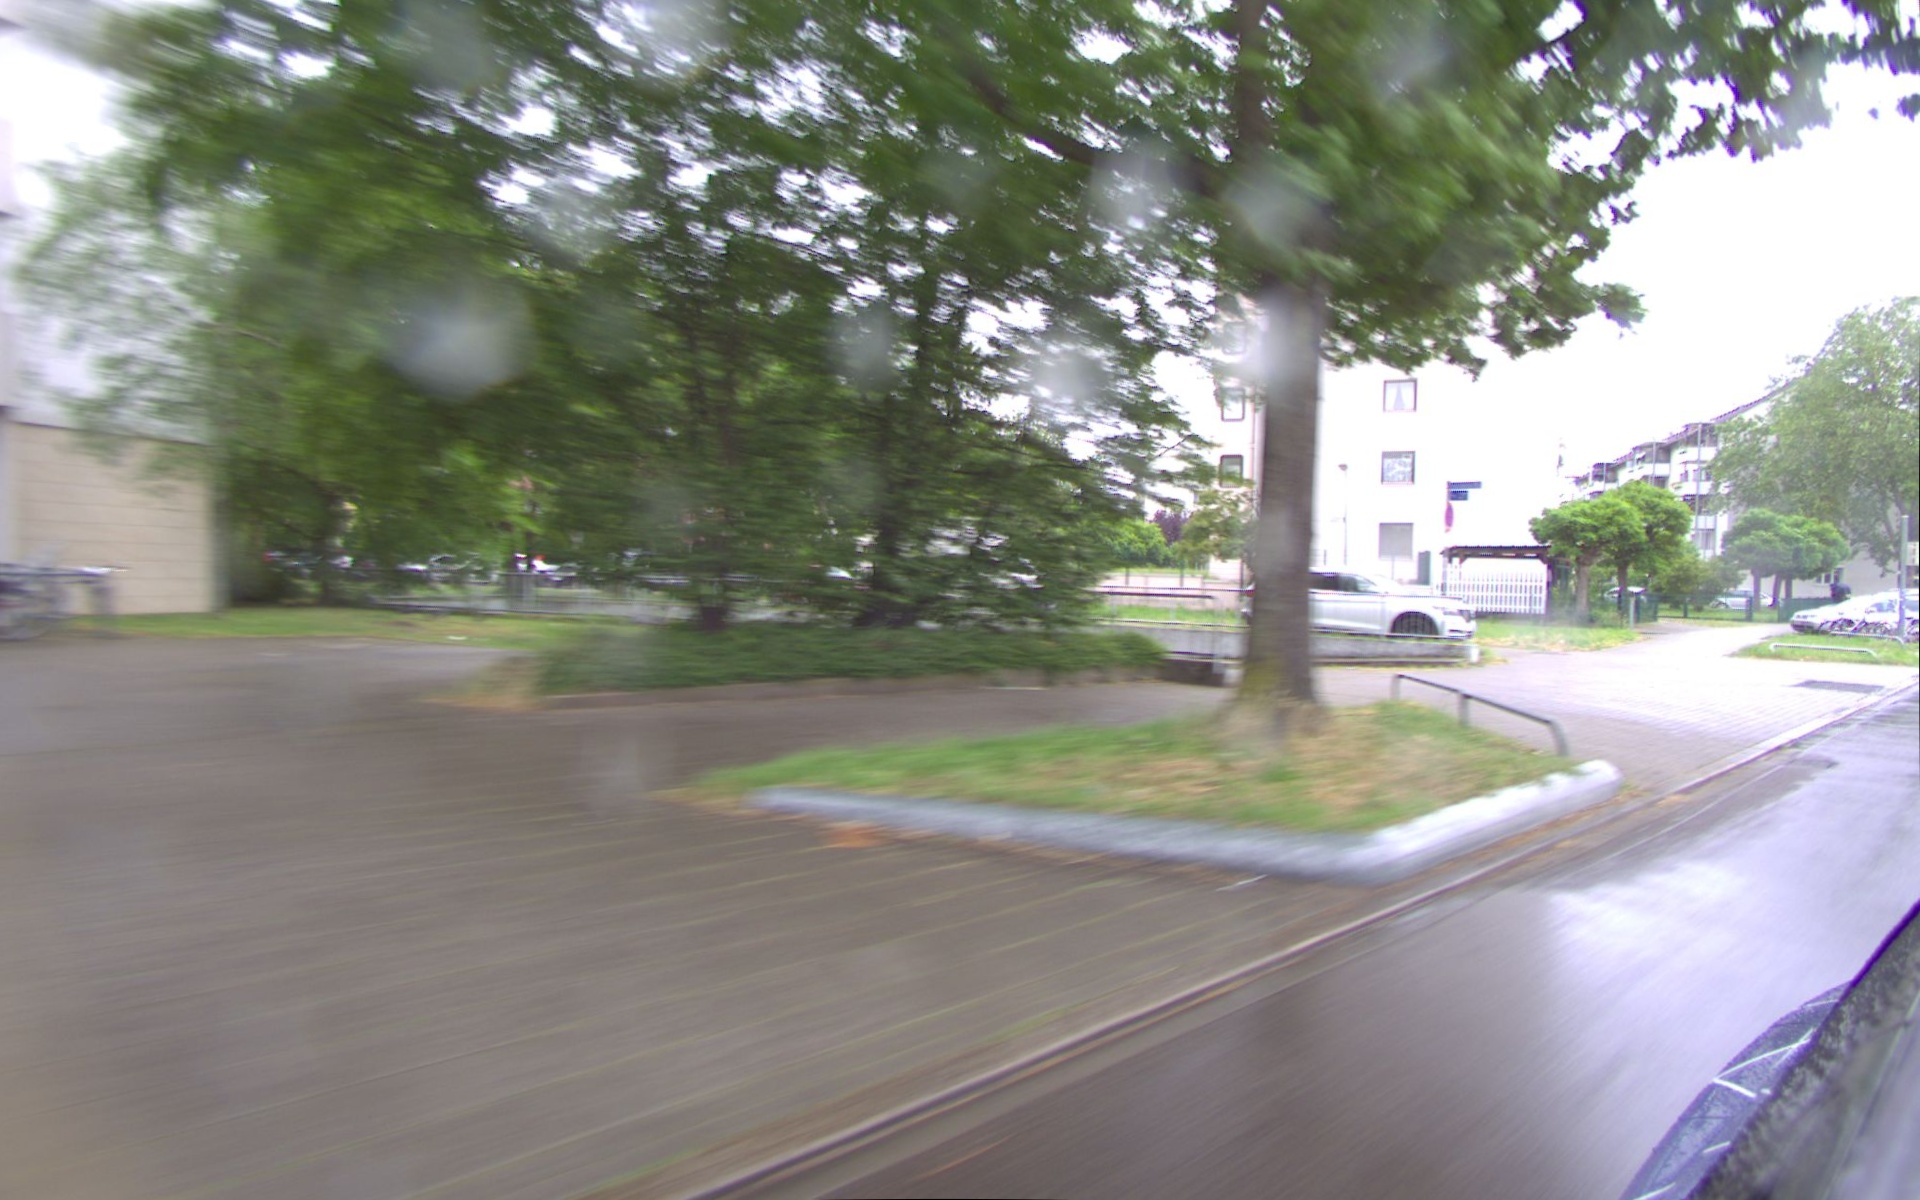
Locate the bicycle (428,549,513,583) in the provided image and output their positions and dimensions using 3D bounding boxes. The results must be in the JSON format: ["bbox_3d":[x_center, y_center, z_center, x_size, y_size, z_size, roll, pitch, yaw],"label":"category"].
[{"bbox_3d":[-24.708,-1.720,51.190,1.168,1.652,3.961,1,1,28],"label":"bicycle"}]

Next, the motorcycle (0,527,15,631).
[{"bbox_3d":[-12.658,-0.252,11.818,0.872,1.304,2.295,2,2,12],"label":"motorcycle"}]

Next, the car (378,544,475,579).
[{"bbox_3d":[-27.410,-1.961,52.120,1.862,1.699,4.219,1,1,23],"label":"car"}]

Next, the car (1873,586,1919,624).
[{"bbox_3d":[43.020,0.278,44.451,3.936,1.526,1.702,2,4,11],"label":"car"}]

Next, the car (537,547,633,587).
[{"bbox_3d":[-17.631,-1.547,47.780,1.862,1.801,4.219,1,1,23],"label":"car"}]

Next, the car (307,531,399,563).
[{"bbox_3d":[-34.328,-2.973,57.348,1.862,1.699,4.219,1,1,23],"label":"car"}]

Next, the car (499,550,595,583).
[{"bbox_3d":[-19.963,-1.590,49.083,1.982,1.472,3.959,0,0,29],"label":"car"}]

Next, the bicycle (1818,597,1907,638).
[{"bbox_3d":[26.672,0.508,29.921,1.921,1.115,0.629,3,2,4],"label":"bicycle"}]

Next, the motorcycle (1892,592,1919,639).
[{"bbox_3d":[28.608,0.491,29.616,1.753,1.353,0.686,3,2,14],"label":"motorcycle"}]

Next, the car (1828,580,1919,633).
[{"bbox_3d":[32.216,0.256,33.890,4.291,1.671,1.848,2,2,17],"label":"car"}]

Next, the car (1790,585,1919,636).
[{"bbox_3d":[29.132,0.341,31.953,4.064,1.440,1.732,3,2,14],"label":"car"}]

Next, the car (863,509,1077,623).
[{"bbox_3d":[0.189,-1.021,29.122,6.038,3.000,2.104,3,2,35],"label":"car"}]

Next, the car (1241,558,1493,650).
[{"bbox_3d":[8.850,0.005,22.181,4.788,1.767,1.975,3,2,35],"label":"car"}]

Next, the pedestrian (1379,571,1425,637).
[{"bbox_3d":[11.003,0.095,25.189,0.835,1.590,0.804,2,2,37],"label":"pedestrian"}]

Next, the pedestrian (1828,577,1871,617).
[{"bbox_3d":[42.493,-0.161,48.339,1.405,1.836,1.104,0,2,-31],"label":"pedestrian"}]

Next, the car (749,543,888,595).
[{"bbox_3d":[-4.561,-1.011,32.373,4.395,1.545,1.881,3,2,38],"label":"car"}]

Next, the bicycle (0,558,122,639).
[{"bbox_3d":[-11.266,-0.038,12.511,0.402,0.936,1.460,2,2,12],"label":"bicycle"}]

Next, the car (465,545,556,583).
[{"bbox_3d":[-22.393,-1.757,50.566,1.707,1.744,3.959,0,0,29],"label":"car"}]

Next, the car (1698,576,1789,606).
[{"bbox_3d":[50.492,-0.621,65.309,1.838,1.701,4.304,0,3,-39],"label":"car"}]

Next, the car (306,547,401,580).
[{"bbox_3d":[-32.365,-1.913,54.079,1.961,1.589,3.959,0,0,29],"label":"car"}]
